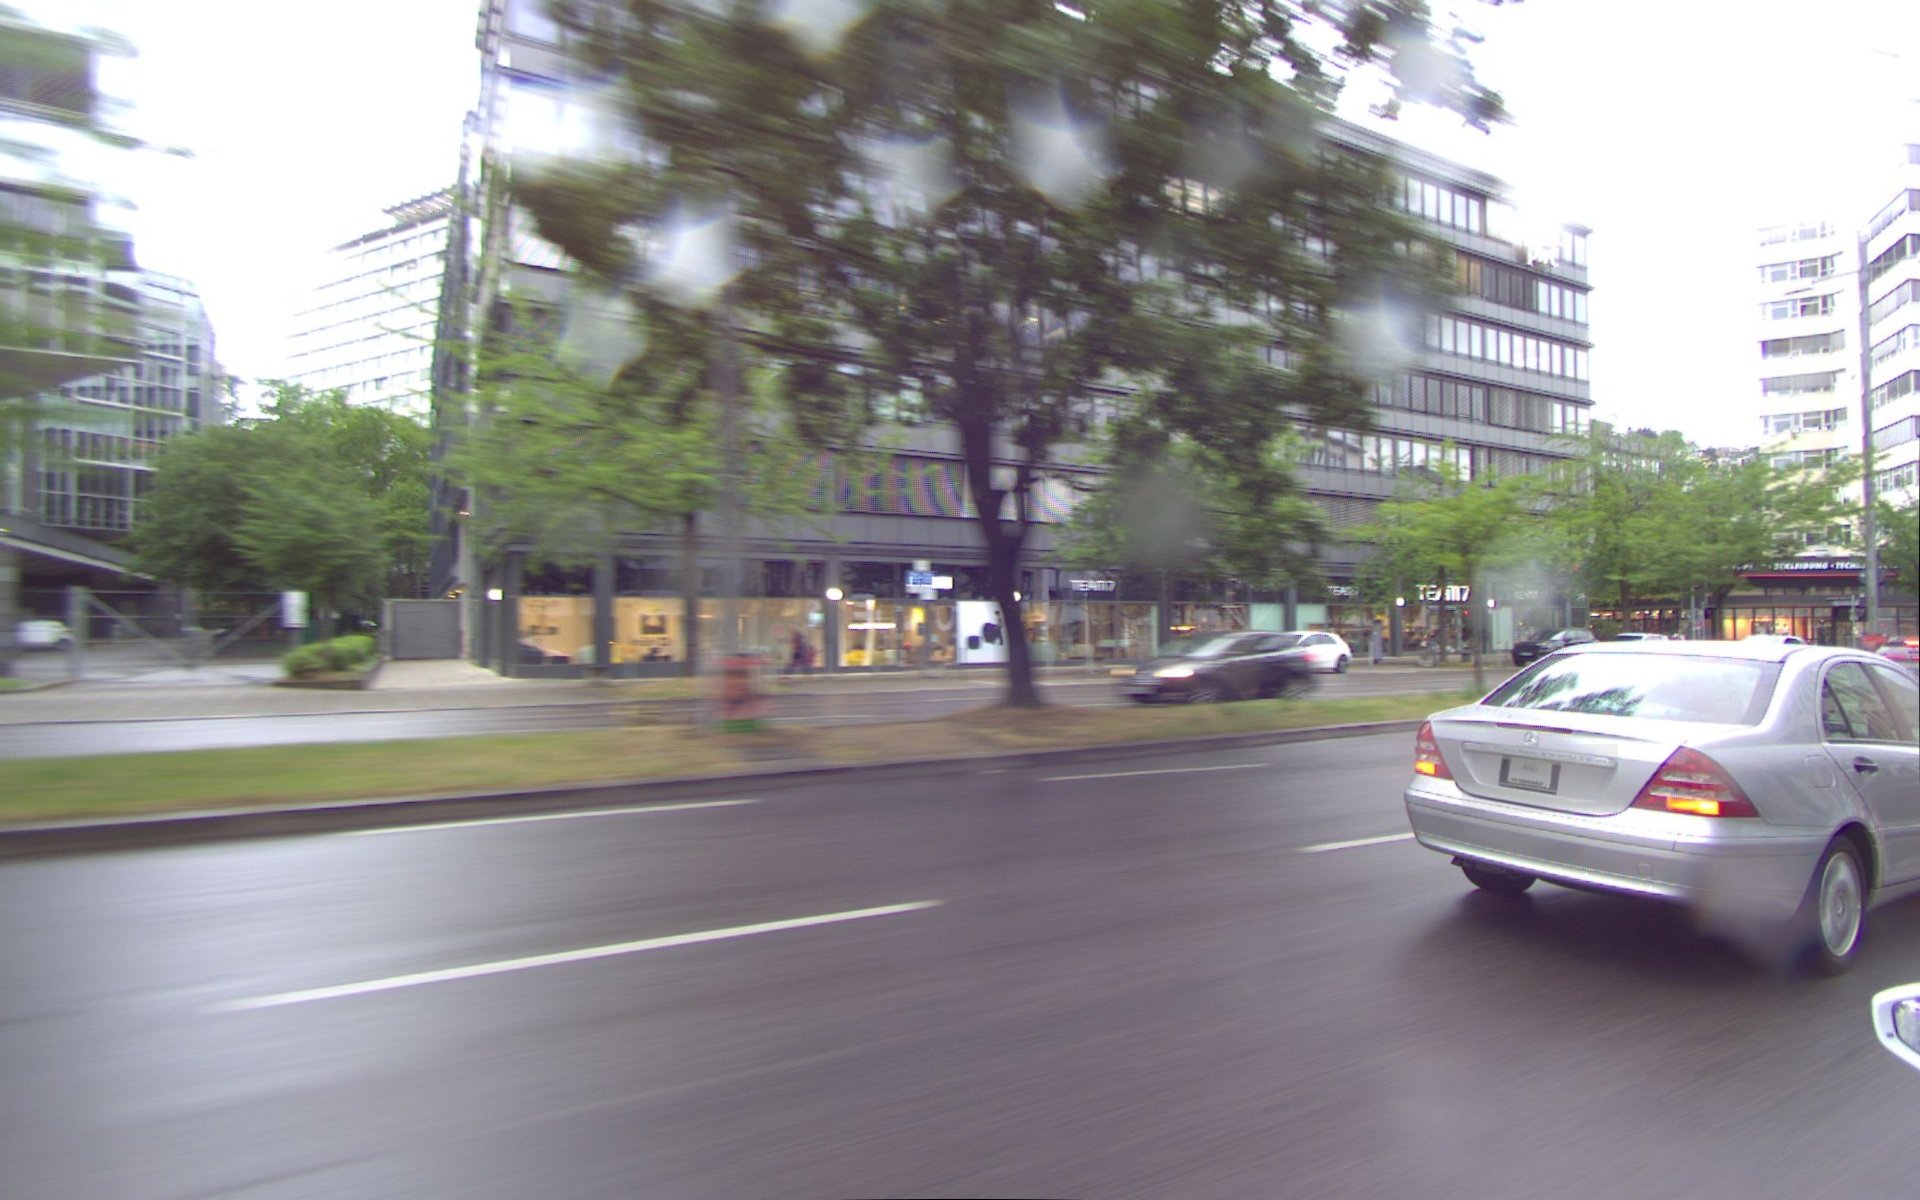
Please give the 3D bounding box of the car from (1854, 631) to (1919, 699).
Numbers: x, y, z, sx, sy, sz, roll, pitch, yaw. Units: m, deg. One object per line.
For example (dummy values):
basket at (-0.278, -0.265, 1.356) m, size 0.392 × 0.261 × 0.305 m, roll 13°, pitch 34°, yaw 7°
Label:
car at (22.449, 1.497, 23.247) m, size 3.960 × 1.476 × 1.763 m, roll 2°, pitch -3°, yaw -35°

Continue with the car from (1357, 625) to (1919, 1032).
car at (4.329, 0.928, 5.579) m, size 4.309 × 1.498 × 1.664 m, roll 2°, pitch -1°, yaw -30°

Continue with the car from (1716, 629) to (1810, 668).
car at (32.098, 1.945, 40.139) m, size 4.259 × 1.511 × 1.615 m, roll 2°, pitch -3°, yaw -32°

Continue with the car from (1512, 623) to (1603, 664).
car at (25.615, 1.840, 43.025) m, size 4.185 × 1.632 × 1.614 m, roll 1°, pitch -1°, yaw -32°

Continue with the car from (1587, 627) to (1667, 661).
car at (30.615, 1.998, 46.064) m, size 3.919 × 1.480 × 1.614 m, roll 1°, pitch -1°, yaw -32°

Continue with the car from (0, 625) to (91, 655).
car at (-45.103, 1.943, 49.224) m, size 1.584 × 1.441 × 3.487 m, roll -1°, pitch -2°, yaw 30°

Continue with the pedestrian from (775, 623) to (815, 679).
pedestrian at (-5.204, 1.594, 31.612) m, size 1.045 × 1.738 × 0.739 m, roll 1°, pitch -2°, yaw -31°

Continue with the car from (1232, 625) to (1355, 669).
car at (11.506, 1.629, 34.557) m, size 4.397 × 1.451 × 1.615 m, roll 2°, pitch -3°, yaw -32°

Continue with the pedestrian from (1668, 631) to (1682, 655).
pedestrian at (44.342, 2.668, 62.288) m, size 0.591 × 1.523 × 0.437 m, roll 0°, pitch -1°, yaw 22°

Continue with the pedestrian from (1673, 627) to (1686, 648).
pedestrian at (51.959, 2.723, 72.518) m, size 0.654 × 1.523 × 0.437 m, roll 0°, pitch -1°, yaw 22°

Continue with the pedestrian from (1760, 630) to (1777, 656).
pedestrian at (54.483, 2.921, 67.683) m, size 0.739 × 1.736 × 0.593 m, roll 0°, pitch -1°, yaw 22°

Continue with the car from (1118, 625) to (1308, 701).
car at (4.889, 1.181, 19.279) m, size 3.582 × 1.328 × 1.613 m, roll 2°, pitch -3°, yaw -35°
